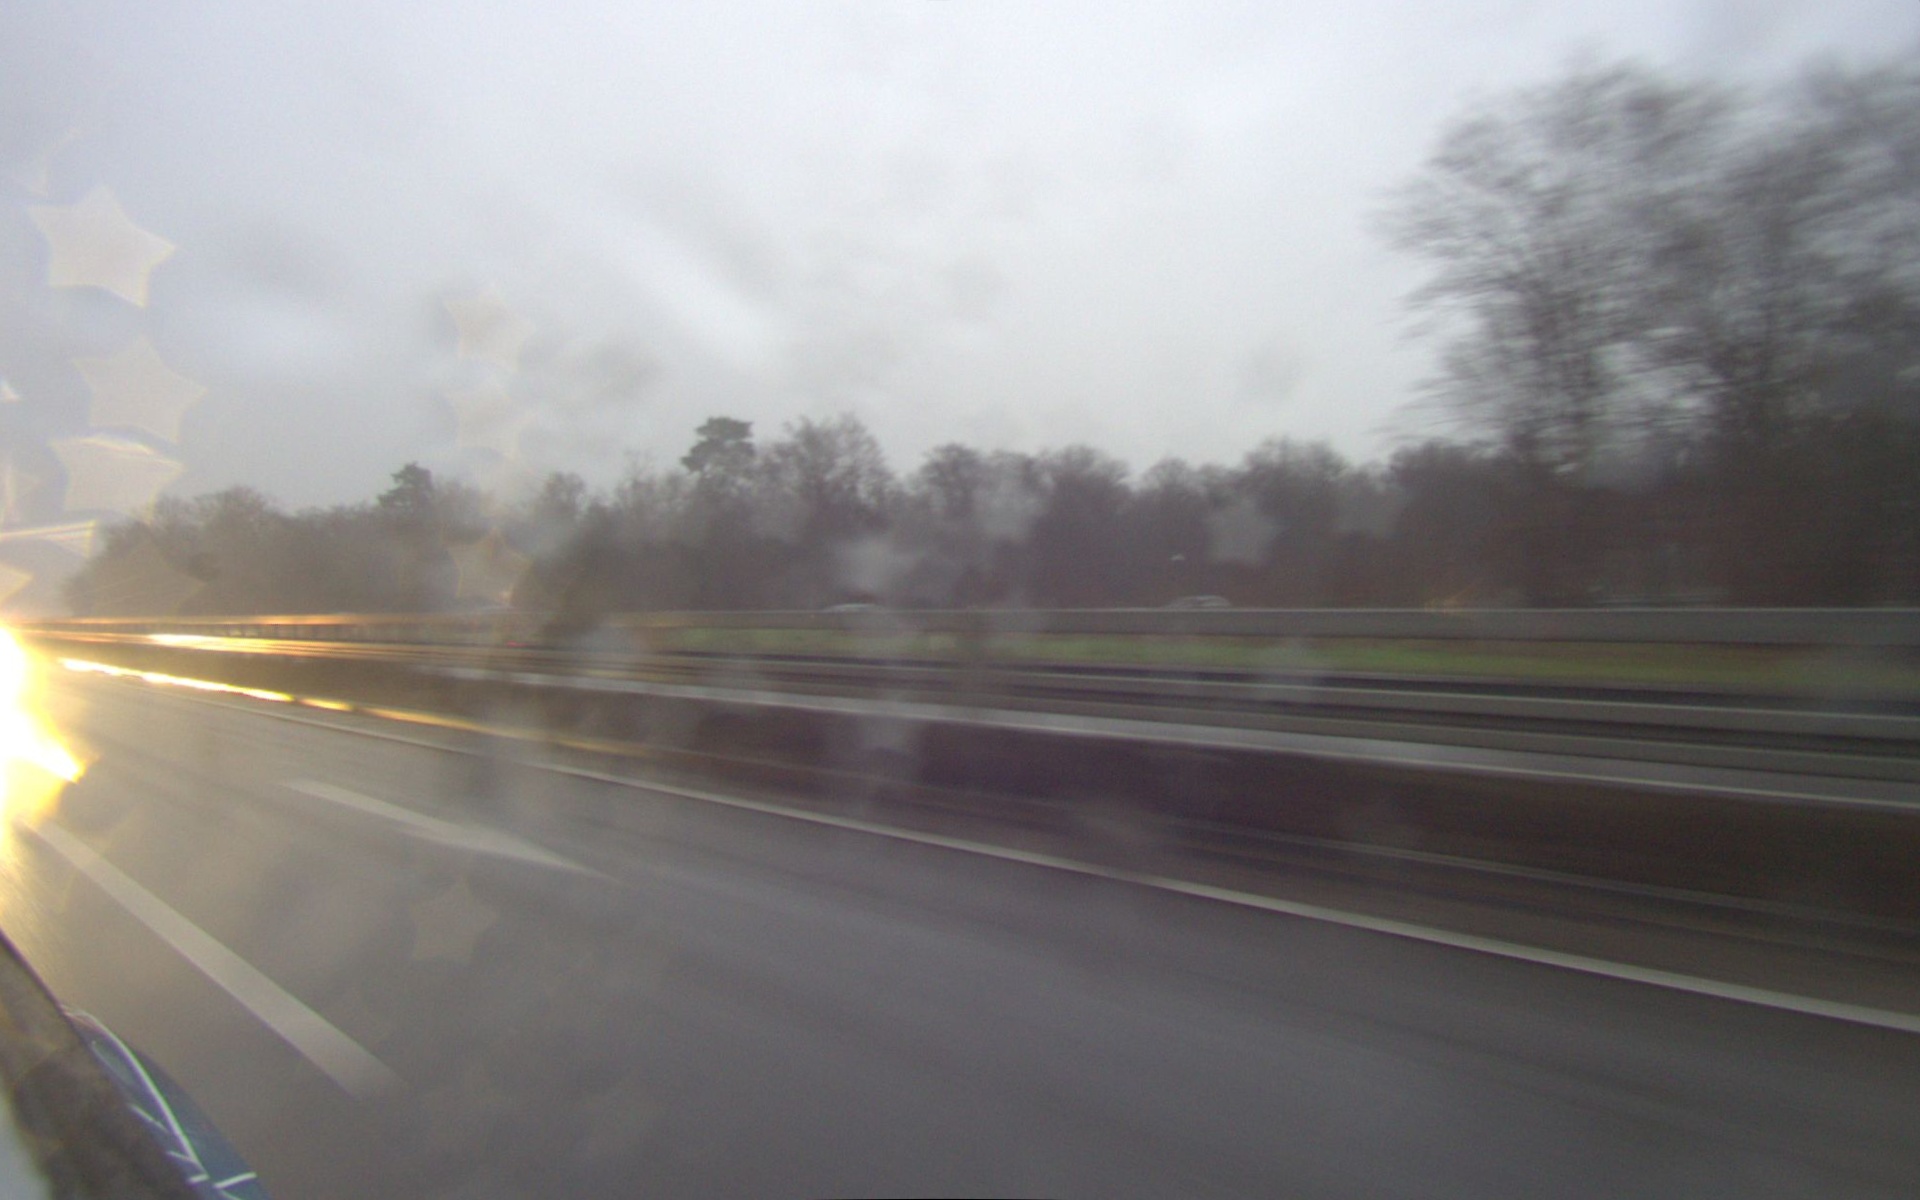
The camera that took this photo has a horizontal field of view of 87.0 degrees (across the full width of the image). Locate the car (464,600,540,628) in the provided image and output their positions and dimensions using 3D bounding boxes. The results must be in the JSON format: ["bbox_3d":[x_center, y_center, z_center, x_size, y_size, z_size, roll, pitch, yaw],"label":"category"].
[{"bbox_3d":[-28.740,0.868,63.493,3.958,1.724,1.993,-1,0,12],"label":"car"}]

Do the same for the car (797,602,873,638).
[{"bbox_3d":[-7.258,1.140,58.935,4.154,2.029,1.776,-1,0,3],"label":"car"}]
